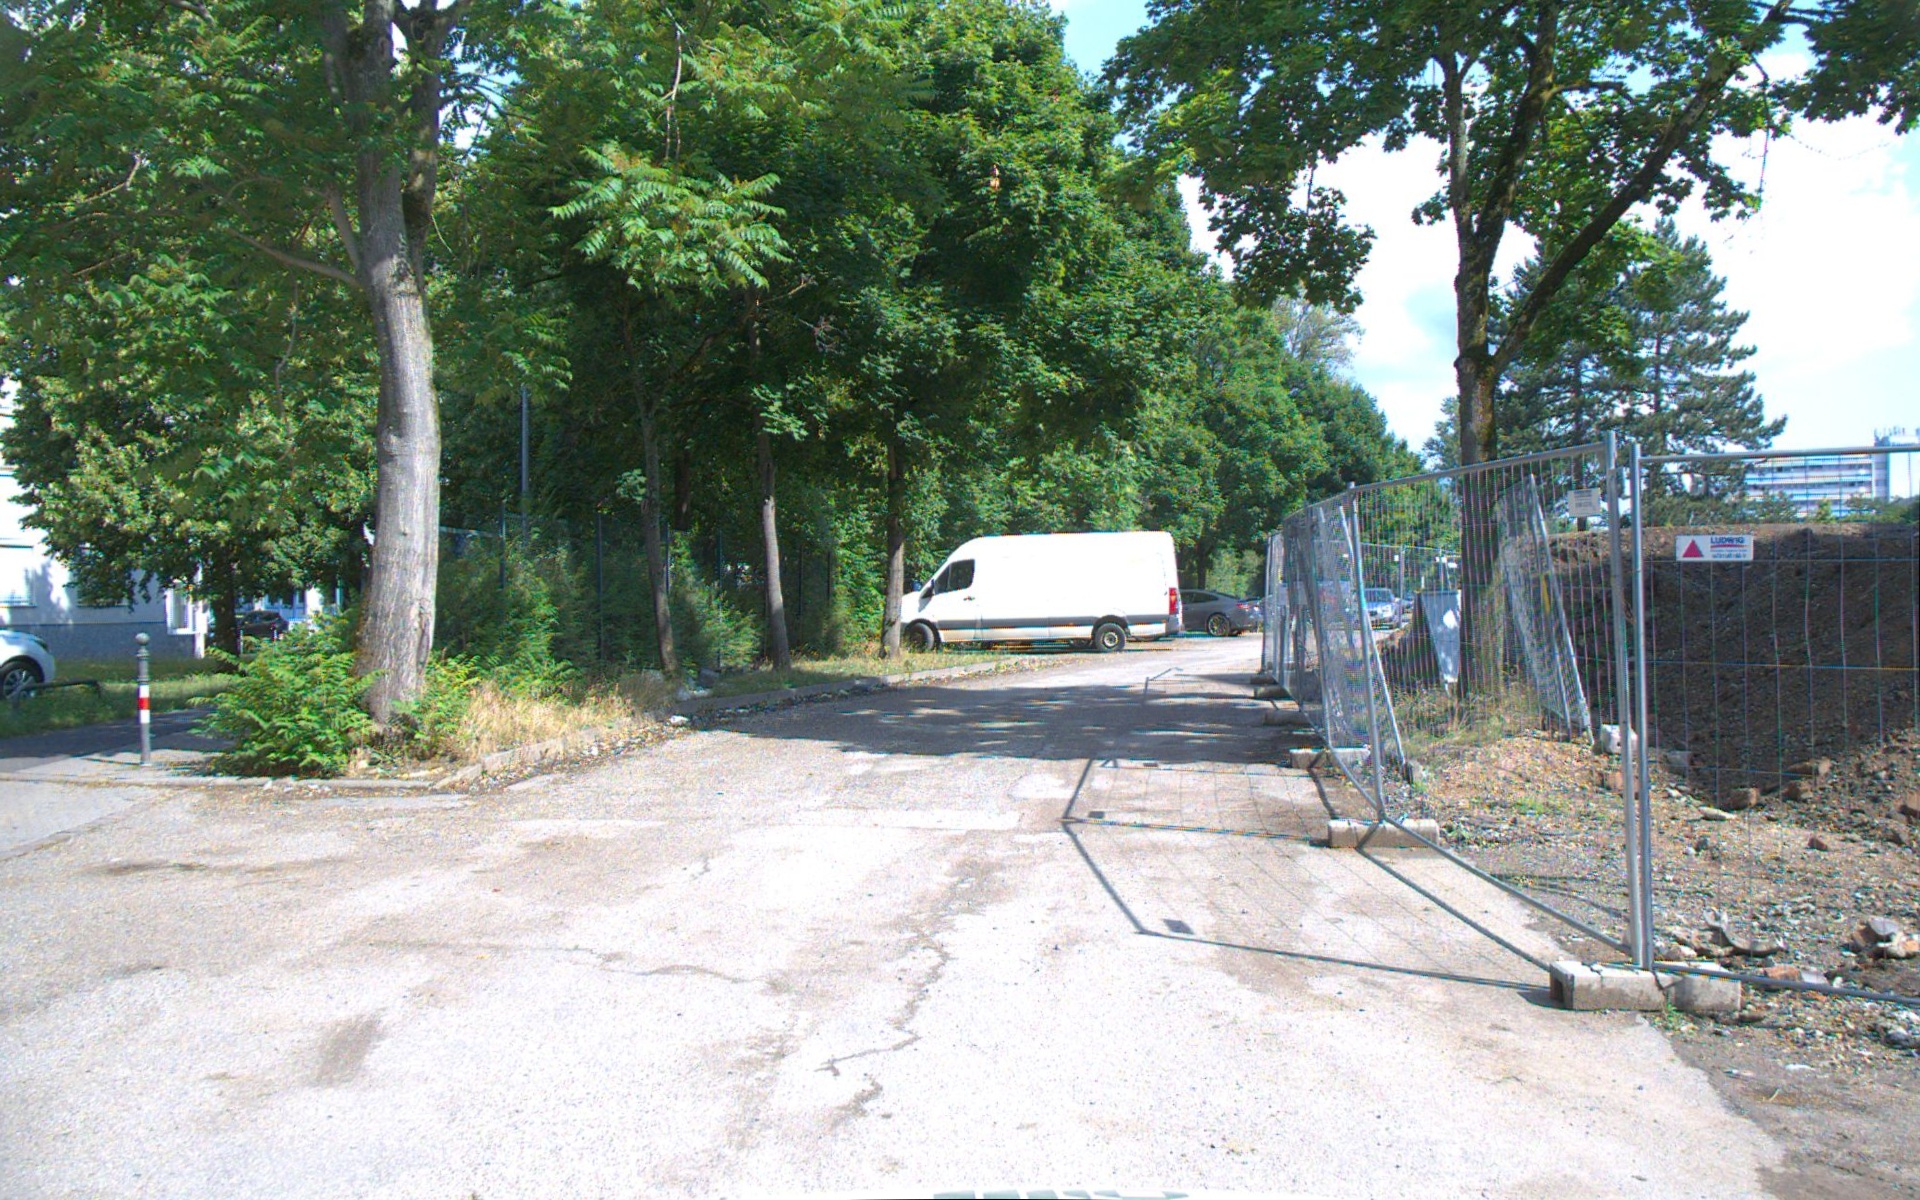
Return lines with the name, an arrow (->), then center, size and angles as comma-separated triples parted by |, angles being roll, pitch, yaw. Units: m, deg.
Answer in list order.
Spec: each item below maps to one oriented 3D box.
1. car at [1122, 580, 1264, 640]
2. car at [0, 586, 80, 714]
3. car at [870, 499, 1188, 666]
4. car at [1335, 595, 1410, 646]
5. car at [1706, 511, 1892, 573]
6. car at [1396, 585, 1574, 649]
car -> 7.012, 0.302, 49.668 | 3.904, 1.453, 1.845 | 4, -2, 18
car -> -12.216, 0.542, 18.576 | 1.717, 1.445, 3.917 | 3, 0, 20
car -> 1.586, -0.399, 37.632 | 6.808, 3.100, 2.001 | 5, 0, 5
car -> 14.404, 0.741, 57.678 | 1.802, 1.453, 3.997 | 4, -2, 24
car -> 25.052, -1.748, 49.575 | 4.755, 1.453, 1.844 | 4, -2, 22
car -> 15.272, 0.499, 48.098 | 4.755, 1.453, 1.844 | 4, -2, 22
